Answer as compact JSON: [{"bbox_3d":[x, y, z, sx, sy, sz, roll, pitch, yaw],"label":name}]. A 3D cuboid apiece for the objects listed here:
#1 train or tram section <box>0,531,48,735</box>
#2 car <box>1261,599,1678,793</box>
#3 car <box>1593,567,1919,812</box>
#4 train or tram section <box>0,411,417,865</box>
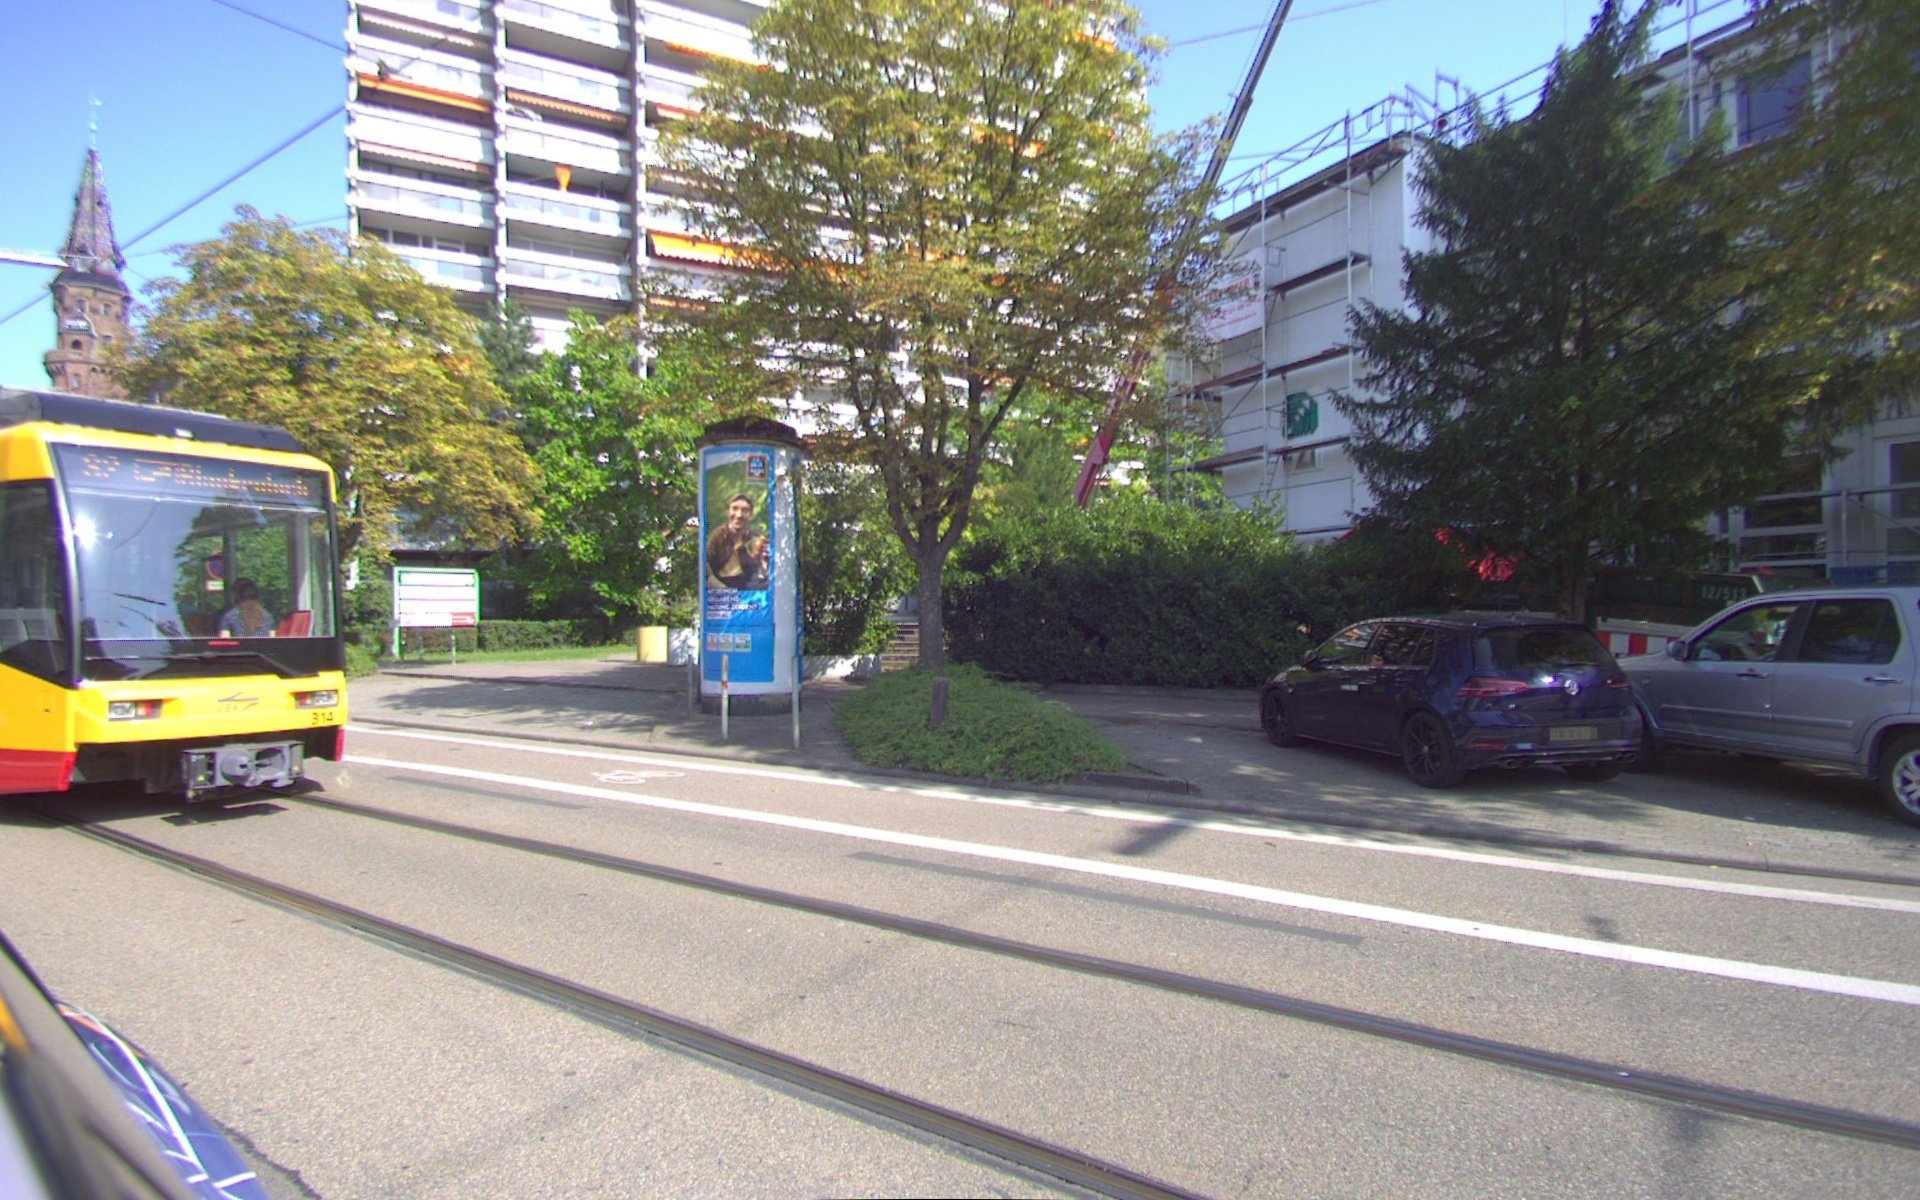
[{"bbox_3d":[-15.485,0.486,14.633,3.641,2.878,2.682,-1,-1,35],"label":"train or tram section"},{"bbox_3d":[4.504,0.761,9.682,1.667,1.453,3.802,-1,-1,-7],"label":"car"},{"bbox_3d":[7.093,0.599,7.708,1.716,1.634,3.803,-1,-1,-10],"label":"car"},{"bbox_3d":[-9.672,0.352,10.543,10.518,2.883,2.657,-1,-1,35],"label":"train or tram section"}]
